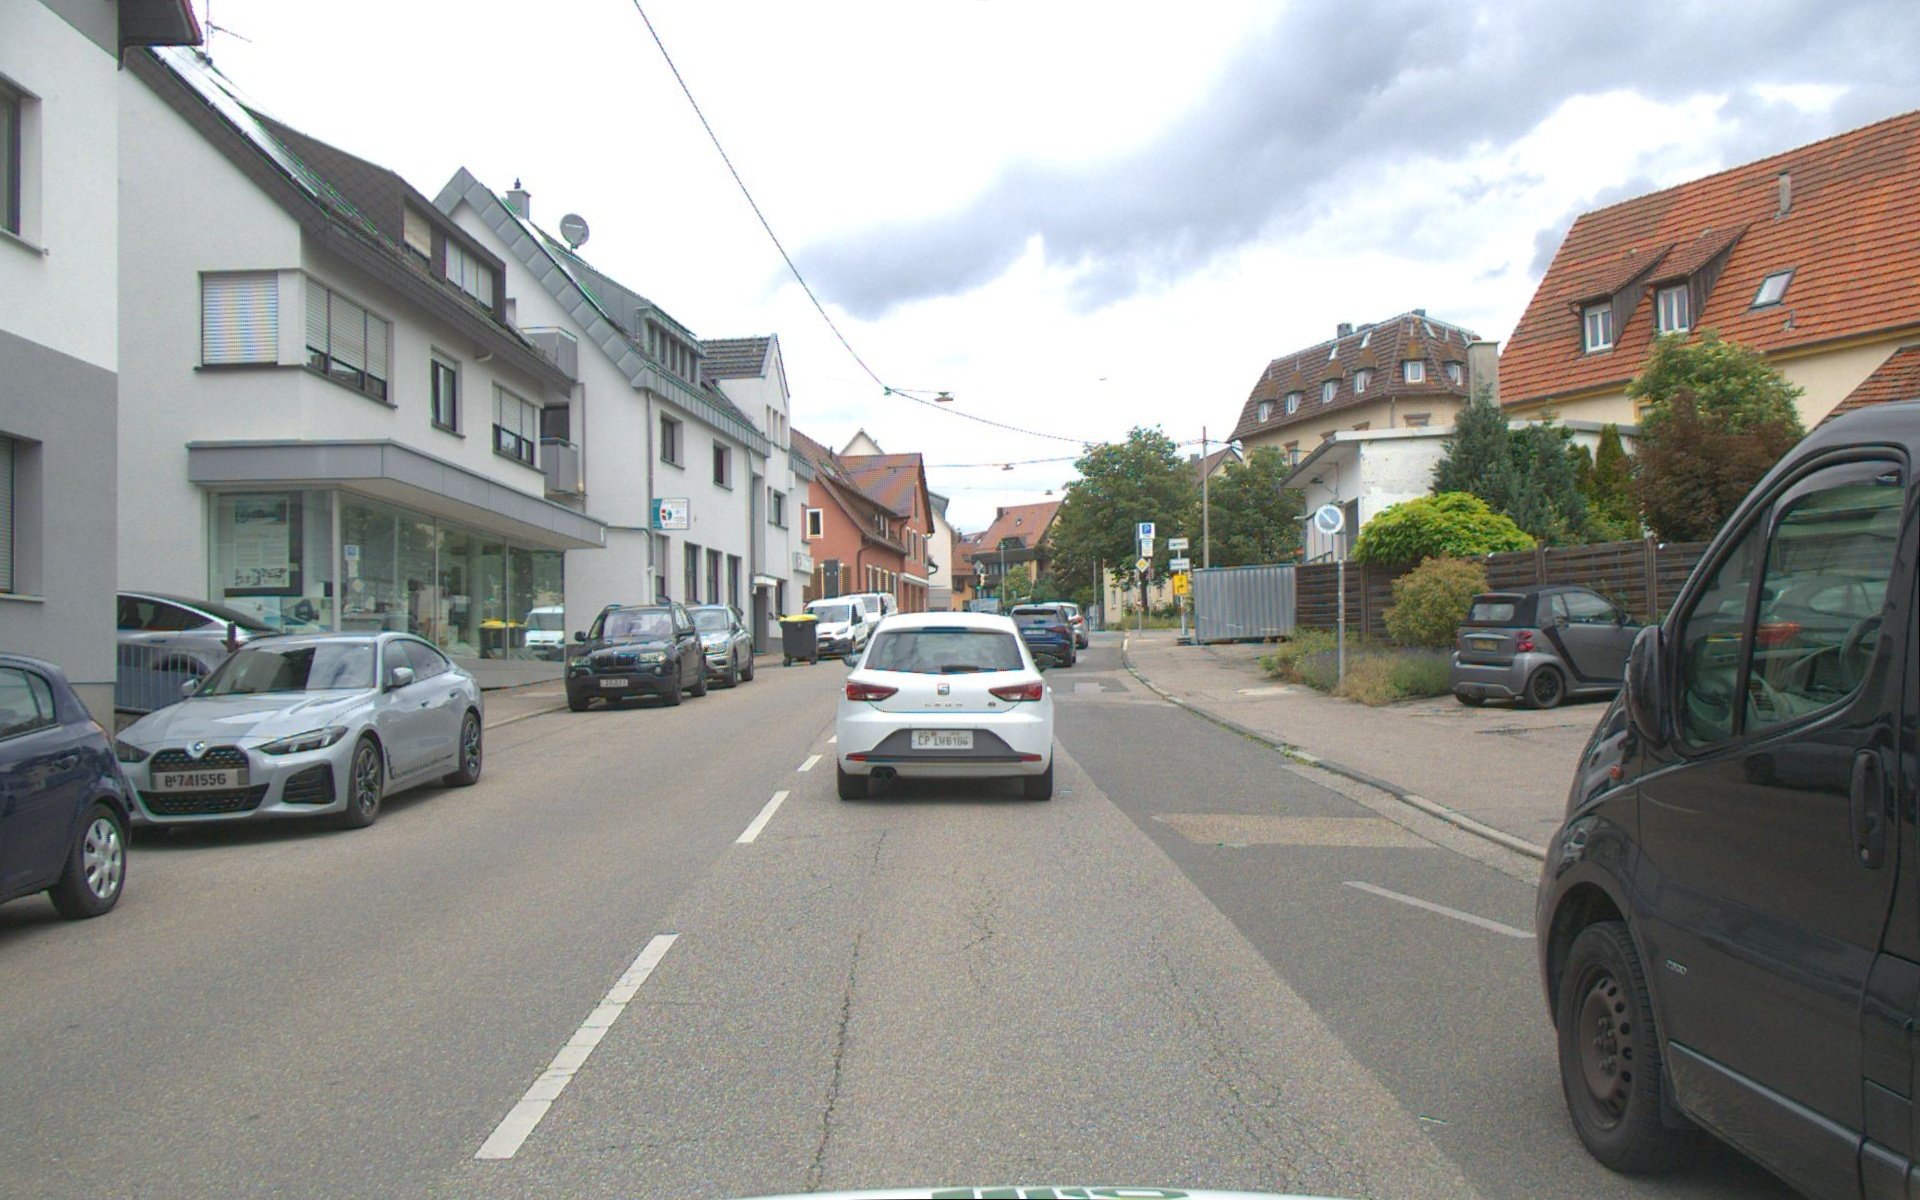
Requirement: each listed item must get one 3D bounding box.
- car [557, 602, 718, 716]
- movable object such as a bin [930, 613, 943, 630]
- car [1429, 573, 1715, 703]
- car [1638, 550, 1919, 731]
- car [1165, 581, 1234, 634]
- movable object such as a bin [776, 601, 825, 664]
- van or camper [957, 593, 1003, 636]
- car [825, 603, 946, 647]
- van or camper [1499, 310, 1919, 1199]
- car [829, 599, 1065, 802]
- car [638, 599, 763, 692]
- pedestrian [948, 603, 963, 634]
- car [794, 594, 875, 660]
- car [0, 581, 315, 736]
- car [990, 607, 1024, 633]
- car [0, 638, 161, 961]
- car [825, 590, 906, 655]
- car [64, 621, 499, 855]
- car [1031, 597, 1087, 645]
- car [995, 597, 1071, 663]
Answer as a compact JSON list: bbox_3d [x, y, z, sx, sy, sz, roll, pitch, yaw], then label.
[{"bbox_3d":[-5.313,0.916,27.781,1.800,1.661,4.408,-3,0,0],"label":"car"},{"bbox_3d":[-1.412,1.292,99.513,0.651,1.036,0.795,-2,-1,2],"label":"movable object such as a bin"},{"bbox_3d":[8.178,0.479,22.157,3.264,1.545,1.694,-2,0,-21],"label":"car"},{"bbox_3d":[9.419,0.345,17.111,4.036,1.683,1.900,-2,0,-10],"label":"car"},{"bbox_3d":[8.669,0.276,60.245,1.711,1.770,4.571,-3,0,-1],"label":"car"},{"bbox_3d":[-4.339,0.873,45.128,1.117,1.661,1.563,-2,0,-1],"label":"movable object such as a bin"},{"bbox_3d":[1.138,0.825,90.206,2.030,2.041,4.860,-3,-3,5],"label":"van or camper"},{"bbox_3d":[-2.973,0.996,66.299,4.456,1.470,2.002,-3,-1,9],"label":"car"},{"bbox_3d":[2.772,0.502,2.725,1.953,2.049,5.062,1,0,-2],"label":"van or camper"},{"bbox_3d":[-0.003,0.778,14.258,1.722,1.477,4.001,-1,-1,3],"label":"car"},{"bbox_3d":[-5.158,0.862,33.457,1.800,1.661,4.408,-3,0,0],"label":"car"},{"bbox_3d":[-0.244,1.088,97.236,0.783,1.816,0.893,-1,-1,5],"label":"pedestrian"},{"bbox_3d":[-3.840,0.803,51.079,1.697,1.863,4.300,-3,0,5],"label":"car"},{"bbox_3d":[-11.108,0.775,22.379,3.905,1.888,2.000,-2,0,1],"label":"car"},{"bbox_3d":[3.133,1.374,110.722,1.957,1.662,4.855,0,-1,-2],"label":"car"},{"bbox_3d":[-5.393,0.996,7.411,1.801,1.470,3.997,-3,0,-3],"label":"car"},{"bbox_3d":[-3.178,0.722,56.623,1.773,2.040,4.767,-3,0,8],"label":"car"},{"bbox_3d":[-5.320,0.981,13.694,1.800,1.470,4.466,-3,0,-2],"label":"car"},{"bbox_3d":[3.201,0.707,53.514,1.721,1.477,4.001,-1,-2,3],"label":"car"},{"bbox_3d":[1.785,0.748,39.674,1.721,1.477,4.001,-1,-2,4],"label":"car"}]
